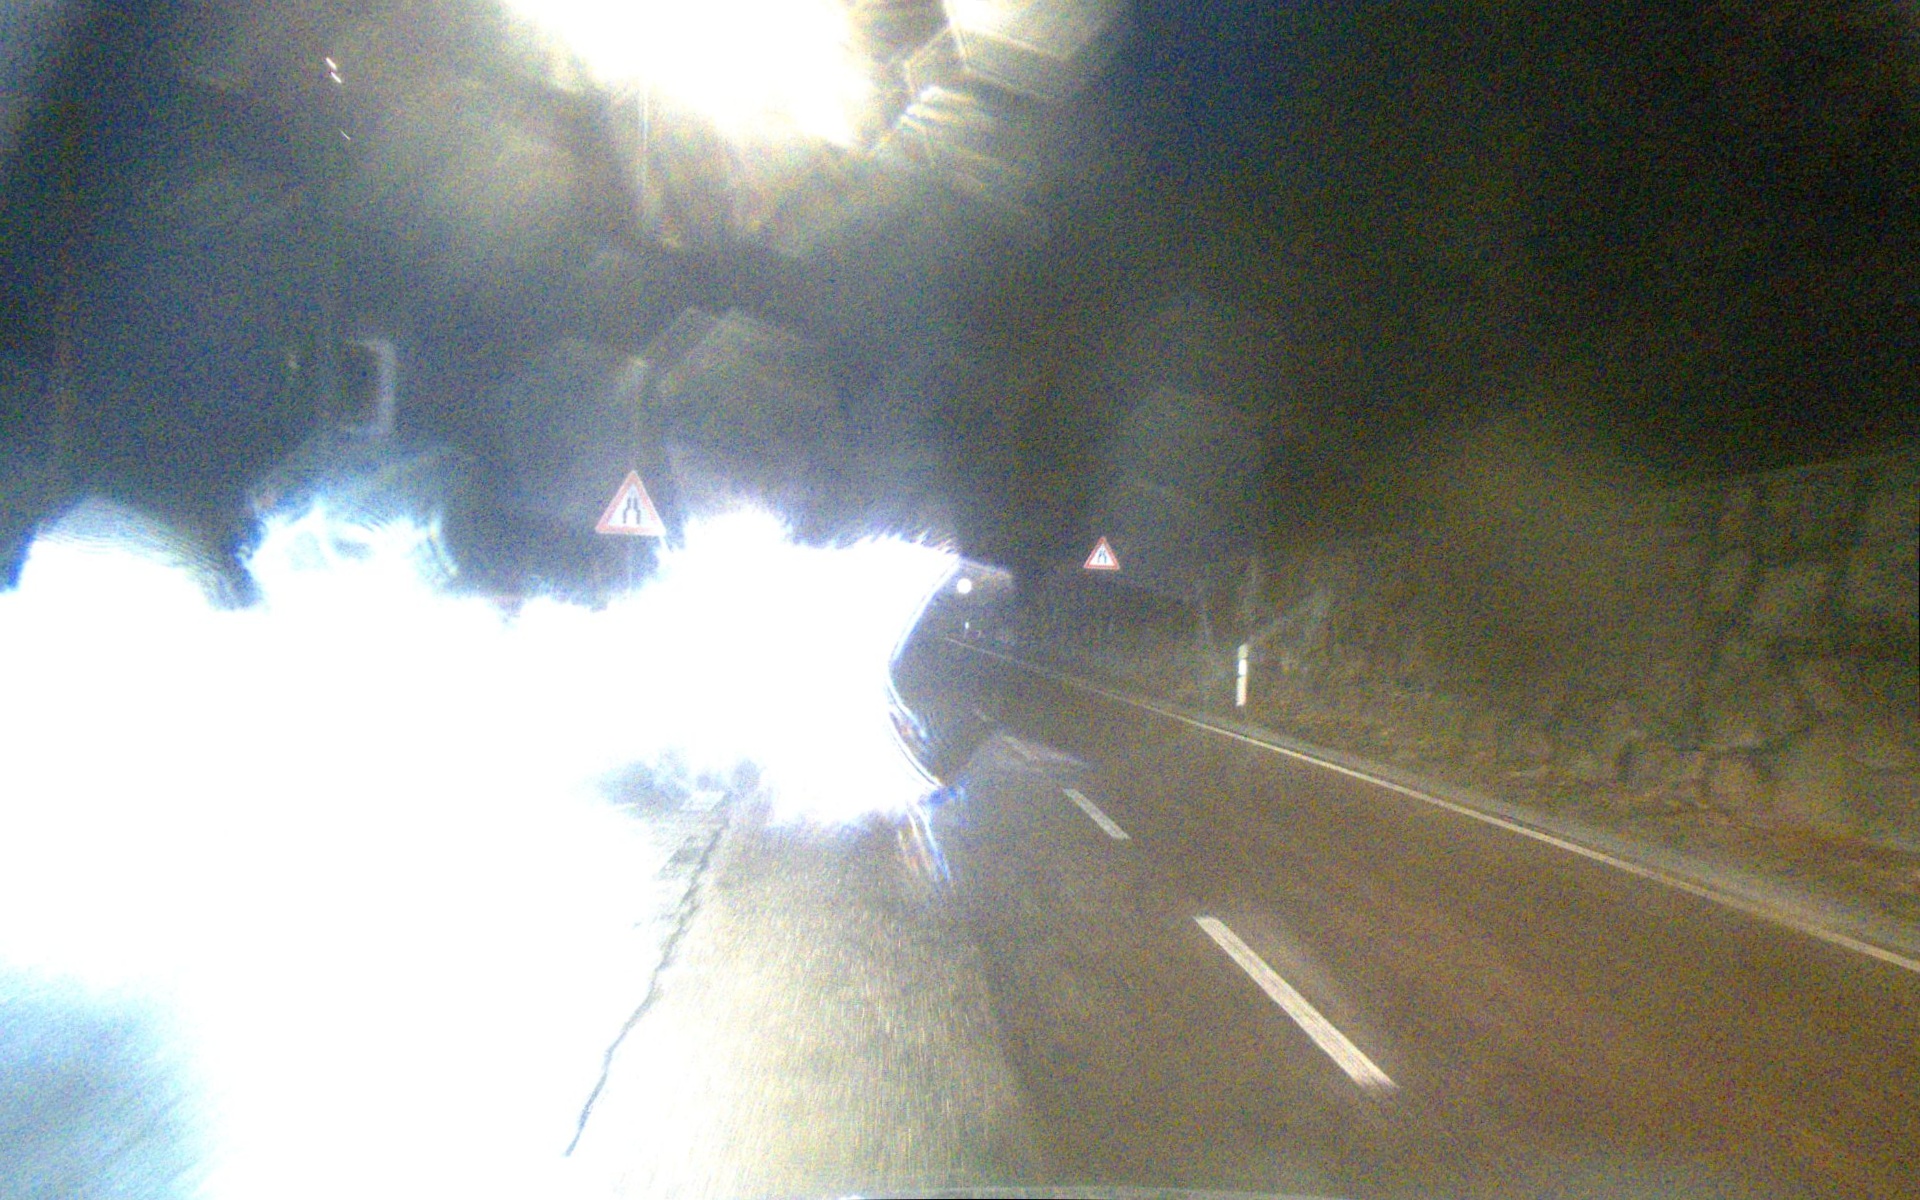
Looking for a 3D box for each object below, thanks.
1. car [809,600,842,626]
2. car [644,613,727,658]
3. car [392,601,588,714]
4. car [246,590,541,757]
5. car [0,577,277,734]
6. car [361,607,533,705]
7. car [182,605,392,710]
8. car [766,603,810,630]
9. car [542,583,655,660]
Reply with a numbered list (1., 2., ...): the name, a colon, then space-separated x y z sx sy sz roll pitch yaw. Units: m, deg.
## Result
1. car: -10.208 0.950 125.736 1.952 1.897 5.320 0 0 1
2. car: -10.340 1.307 62.689 2.136 1.586 5.204 0 0 1
3. car: -7.256 0.864 26.008 1.917 1.598 4.464 1 -1 -2
4. car: -6.584 0.814 19.893 1.953 1.728 5.010 1 -1 -2
5. car: -10.169 0.559 19.350 2.311 1.583 5.157 1 0 -2
6. car: -10.115 1.052 32.991 1.952 1.777 4.499 1 0 1
7. car: -10.340 0.856 25.685 1.785 1.478 3.601 1 -1 -1
8. car: -10.248 0.961 98.793 2.040 1.569 4.899 0 0 1
9. car: -10.327 0.596 47.636 2.110 2.049 4.995 1 0 0
